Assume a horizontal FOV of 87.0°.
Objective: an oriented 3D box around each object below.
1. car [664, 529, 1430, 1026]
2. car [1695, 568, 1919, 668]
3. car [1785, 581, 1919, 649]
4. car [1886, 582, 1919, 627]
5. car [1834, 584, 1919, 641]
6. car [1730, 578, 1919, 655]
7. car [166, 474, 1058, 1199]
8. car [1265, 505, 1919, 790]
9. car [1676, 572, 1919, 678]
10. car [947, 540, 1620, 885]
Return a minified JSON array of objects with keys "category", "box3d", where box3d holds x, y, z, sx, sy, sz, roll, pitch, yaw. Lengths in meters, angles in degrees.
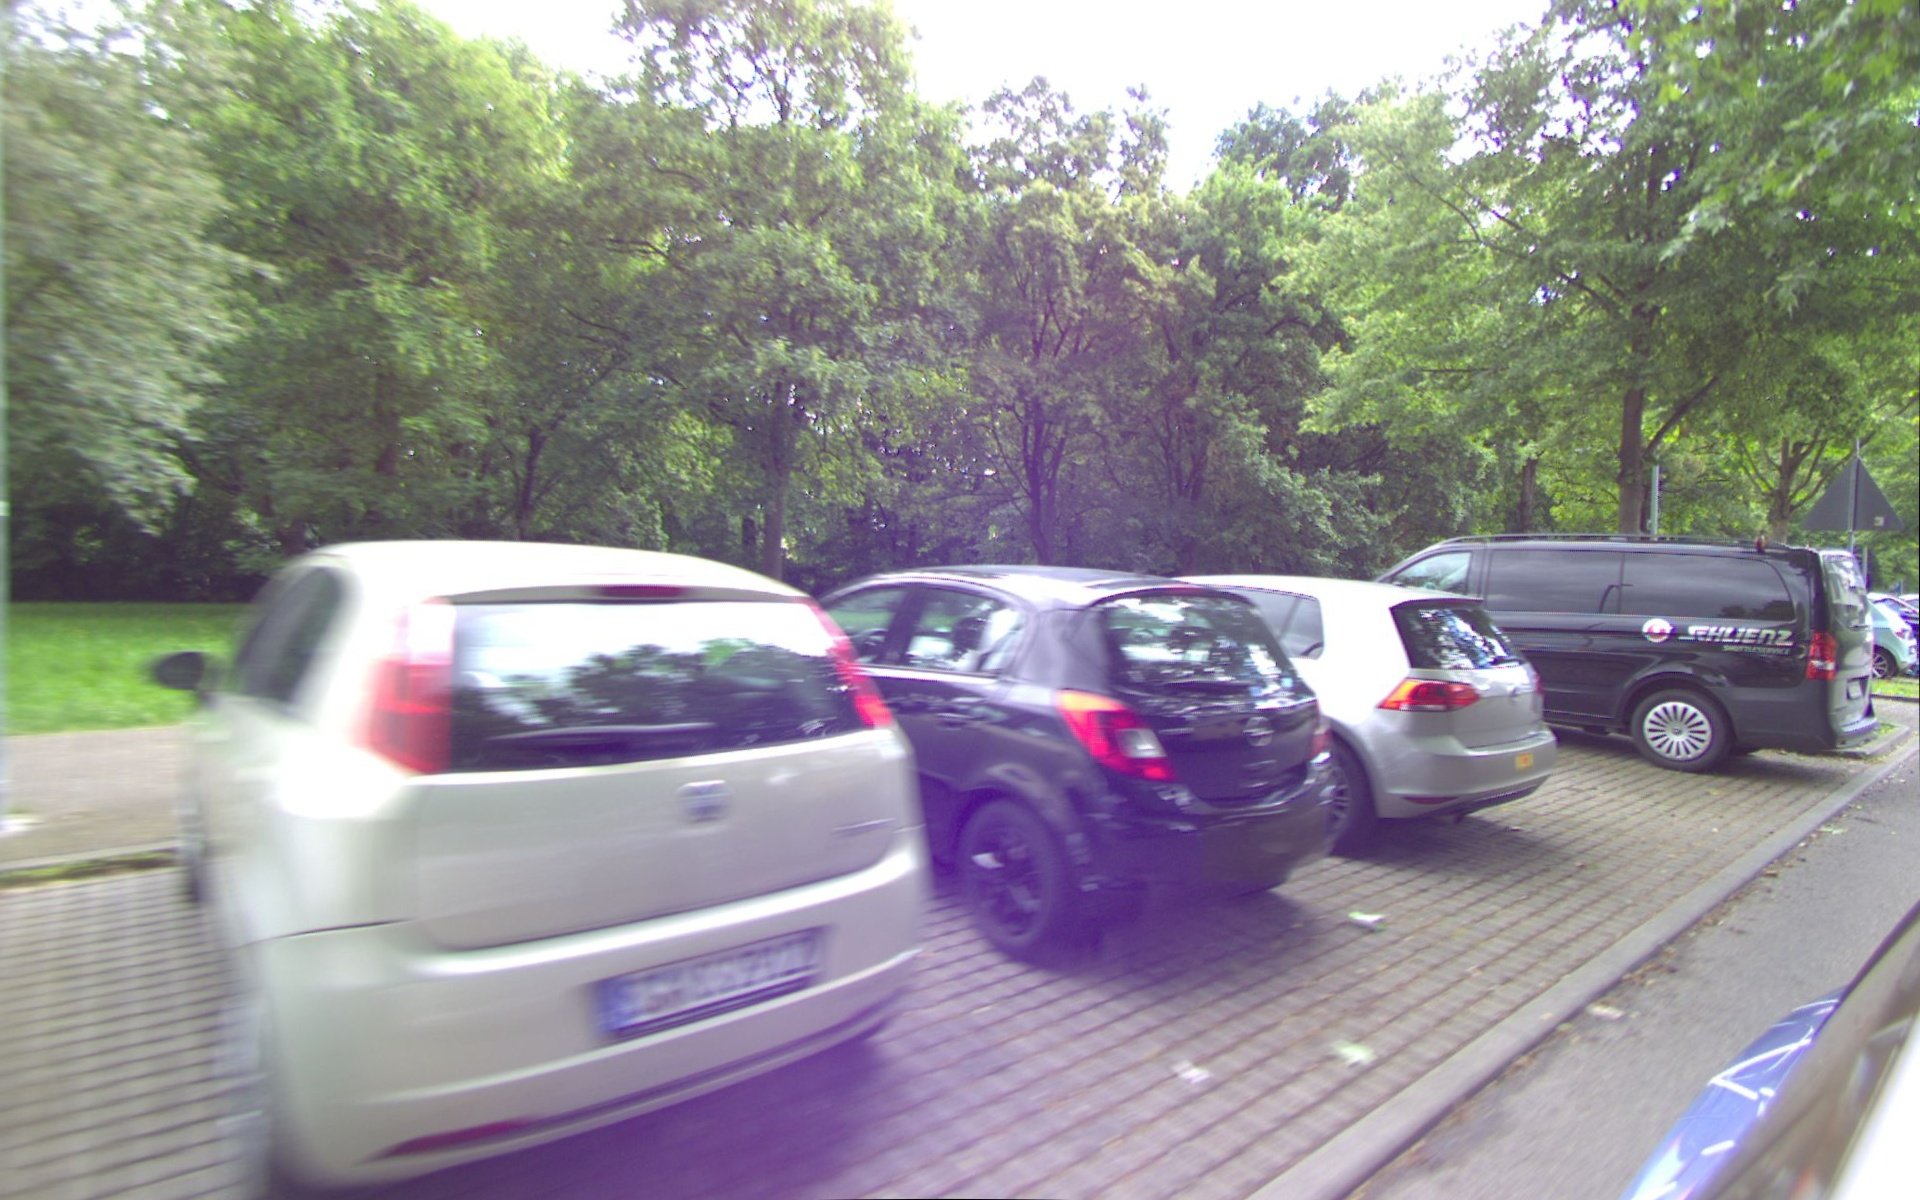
[{"category":"car","box3d":[0.052,0.458,5.300,1.731,1.529,3.974,0,4,-38]},{"category":"car","box3d":[17.352,0.328,19.784,2.045,1.696,4.426,1,3,-40]},{"category":"car","box3d":[23.233,0.377,25.090,1.820,1.535,4.078,0,3,-44]},{"category":"car","box3d":[35.191,0.244,35.366,1.846,1.534,3.852,0,3,-37]},{"category":"car","box3d":[27.120,0.402,28.062,1.818,1.474,4.083,0,3,-39]},{"category":"car","box3d":[20.979,0.383,23.435,1.946,1.536,4.650,1,3,-38]},{"category":"car","box3d":[-1.700,0.461,3.661,1.778,1.546,3.997,-1,4,-39]},{"category":"car","box3d":[5.768,0.176,9.843,2.126,2.038,4.969,0,4,-39]},{"category":"car","box3d":[15.288,0.379,18.332,1.764,1.593,3.388,1,3,-39]},{"category":"car","box3d":[1.847,0.439,6.835,1.761,1.529,3.973,0,4,-39]}]
